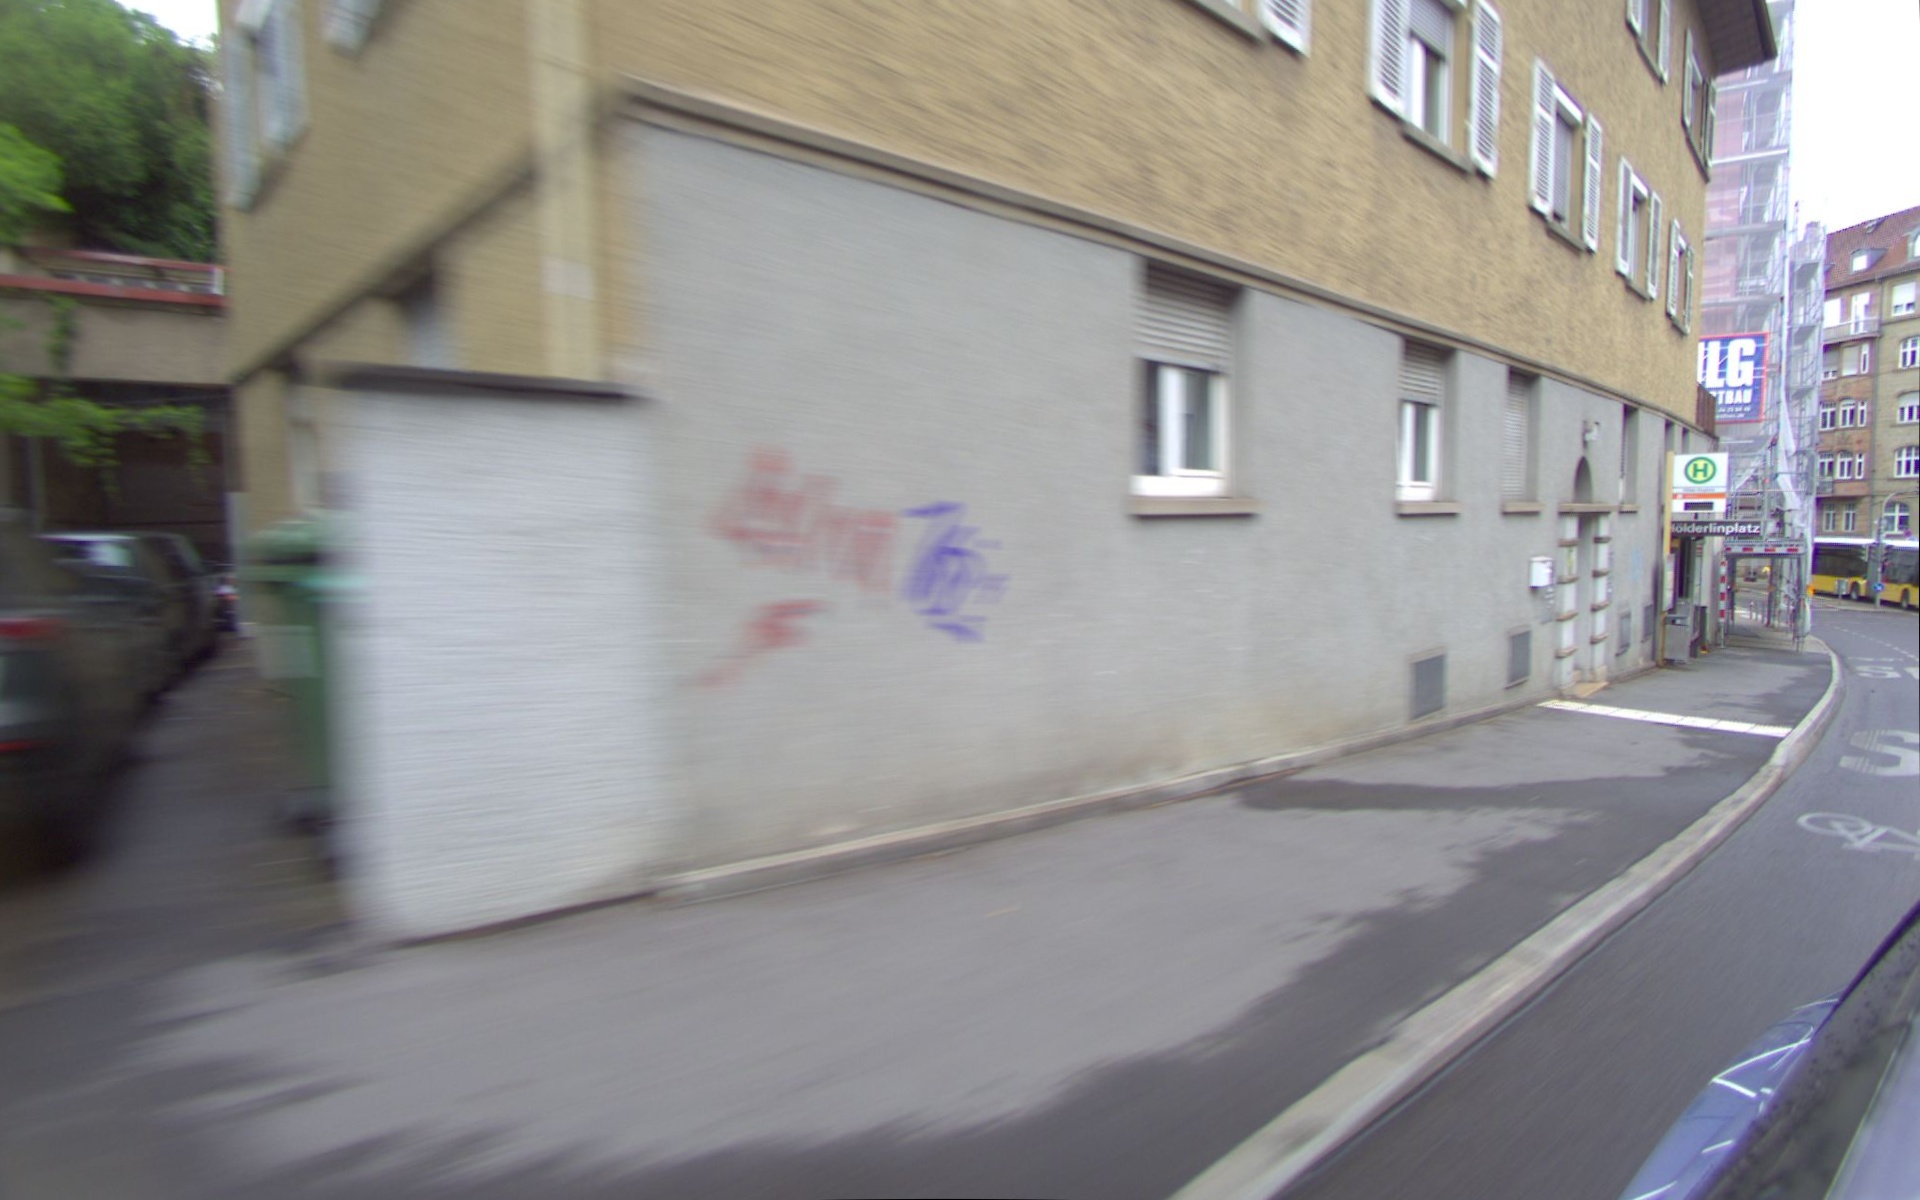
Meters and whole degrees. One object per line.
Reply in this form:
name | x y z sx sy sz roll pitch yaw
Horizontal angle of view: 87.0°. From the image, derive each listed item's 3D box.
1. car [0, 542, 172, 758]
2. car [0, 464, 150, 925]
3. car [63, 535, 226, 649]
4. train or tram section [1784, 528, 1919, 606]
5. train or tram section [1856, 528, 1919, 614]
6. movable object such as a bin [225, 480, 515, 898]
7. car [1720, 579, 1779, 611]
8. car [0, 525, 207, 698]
car | -8.496 0.338 9.187 1.964 1.594 4.302 -3 3 -37
car | -5.206 0.319 4.763 1.964 1.594 4.302 -3 3 -37
car | -14.976 -0.212 18.820 1.962 1.845 4.304 -3 3 -34
train or tram section | 52.118 -2.108 59.145 3.052 4.086 9.748 2 5 21
train or tram section | 48.431 -1.484 50.075 3.055 4.049 9.737 2 5 24
movable object such as a bin | -2.537 0.307 4.308 0.812 1.474 1.252 1 0 -42
car | 44.298 -0.311 56.859 1.879 1.717 3.963 0 0 27
car | -11.107 0.056 12.958 1.961 1.845 4.306 -3 3 -32
